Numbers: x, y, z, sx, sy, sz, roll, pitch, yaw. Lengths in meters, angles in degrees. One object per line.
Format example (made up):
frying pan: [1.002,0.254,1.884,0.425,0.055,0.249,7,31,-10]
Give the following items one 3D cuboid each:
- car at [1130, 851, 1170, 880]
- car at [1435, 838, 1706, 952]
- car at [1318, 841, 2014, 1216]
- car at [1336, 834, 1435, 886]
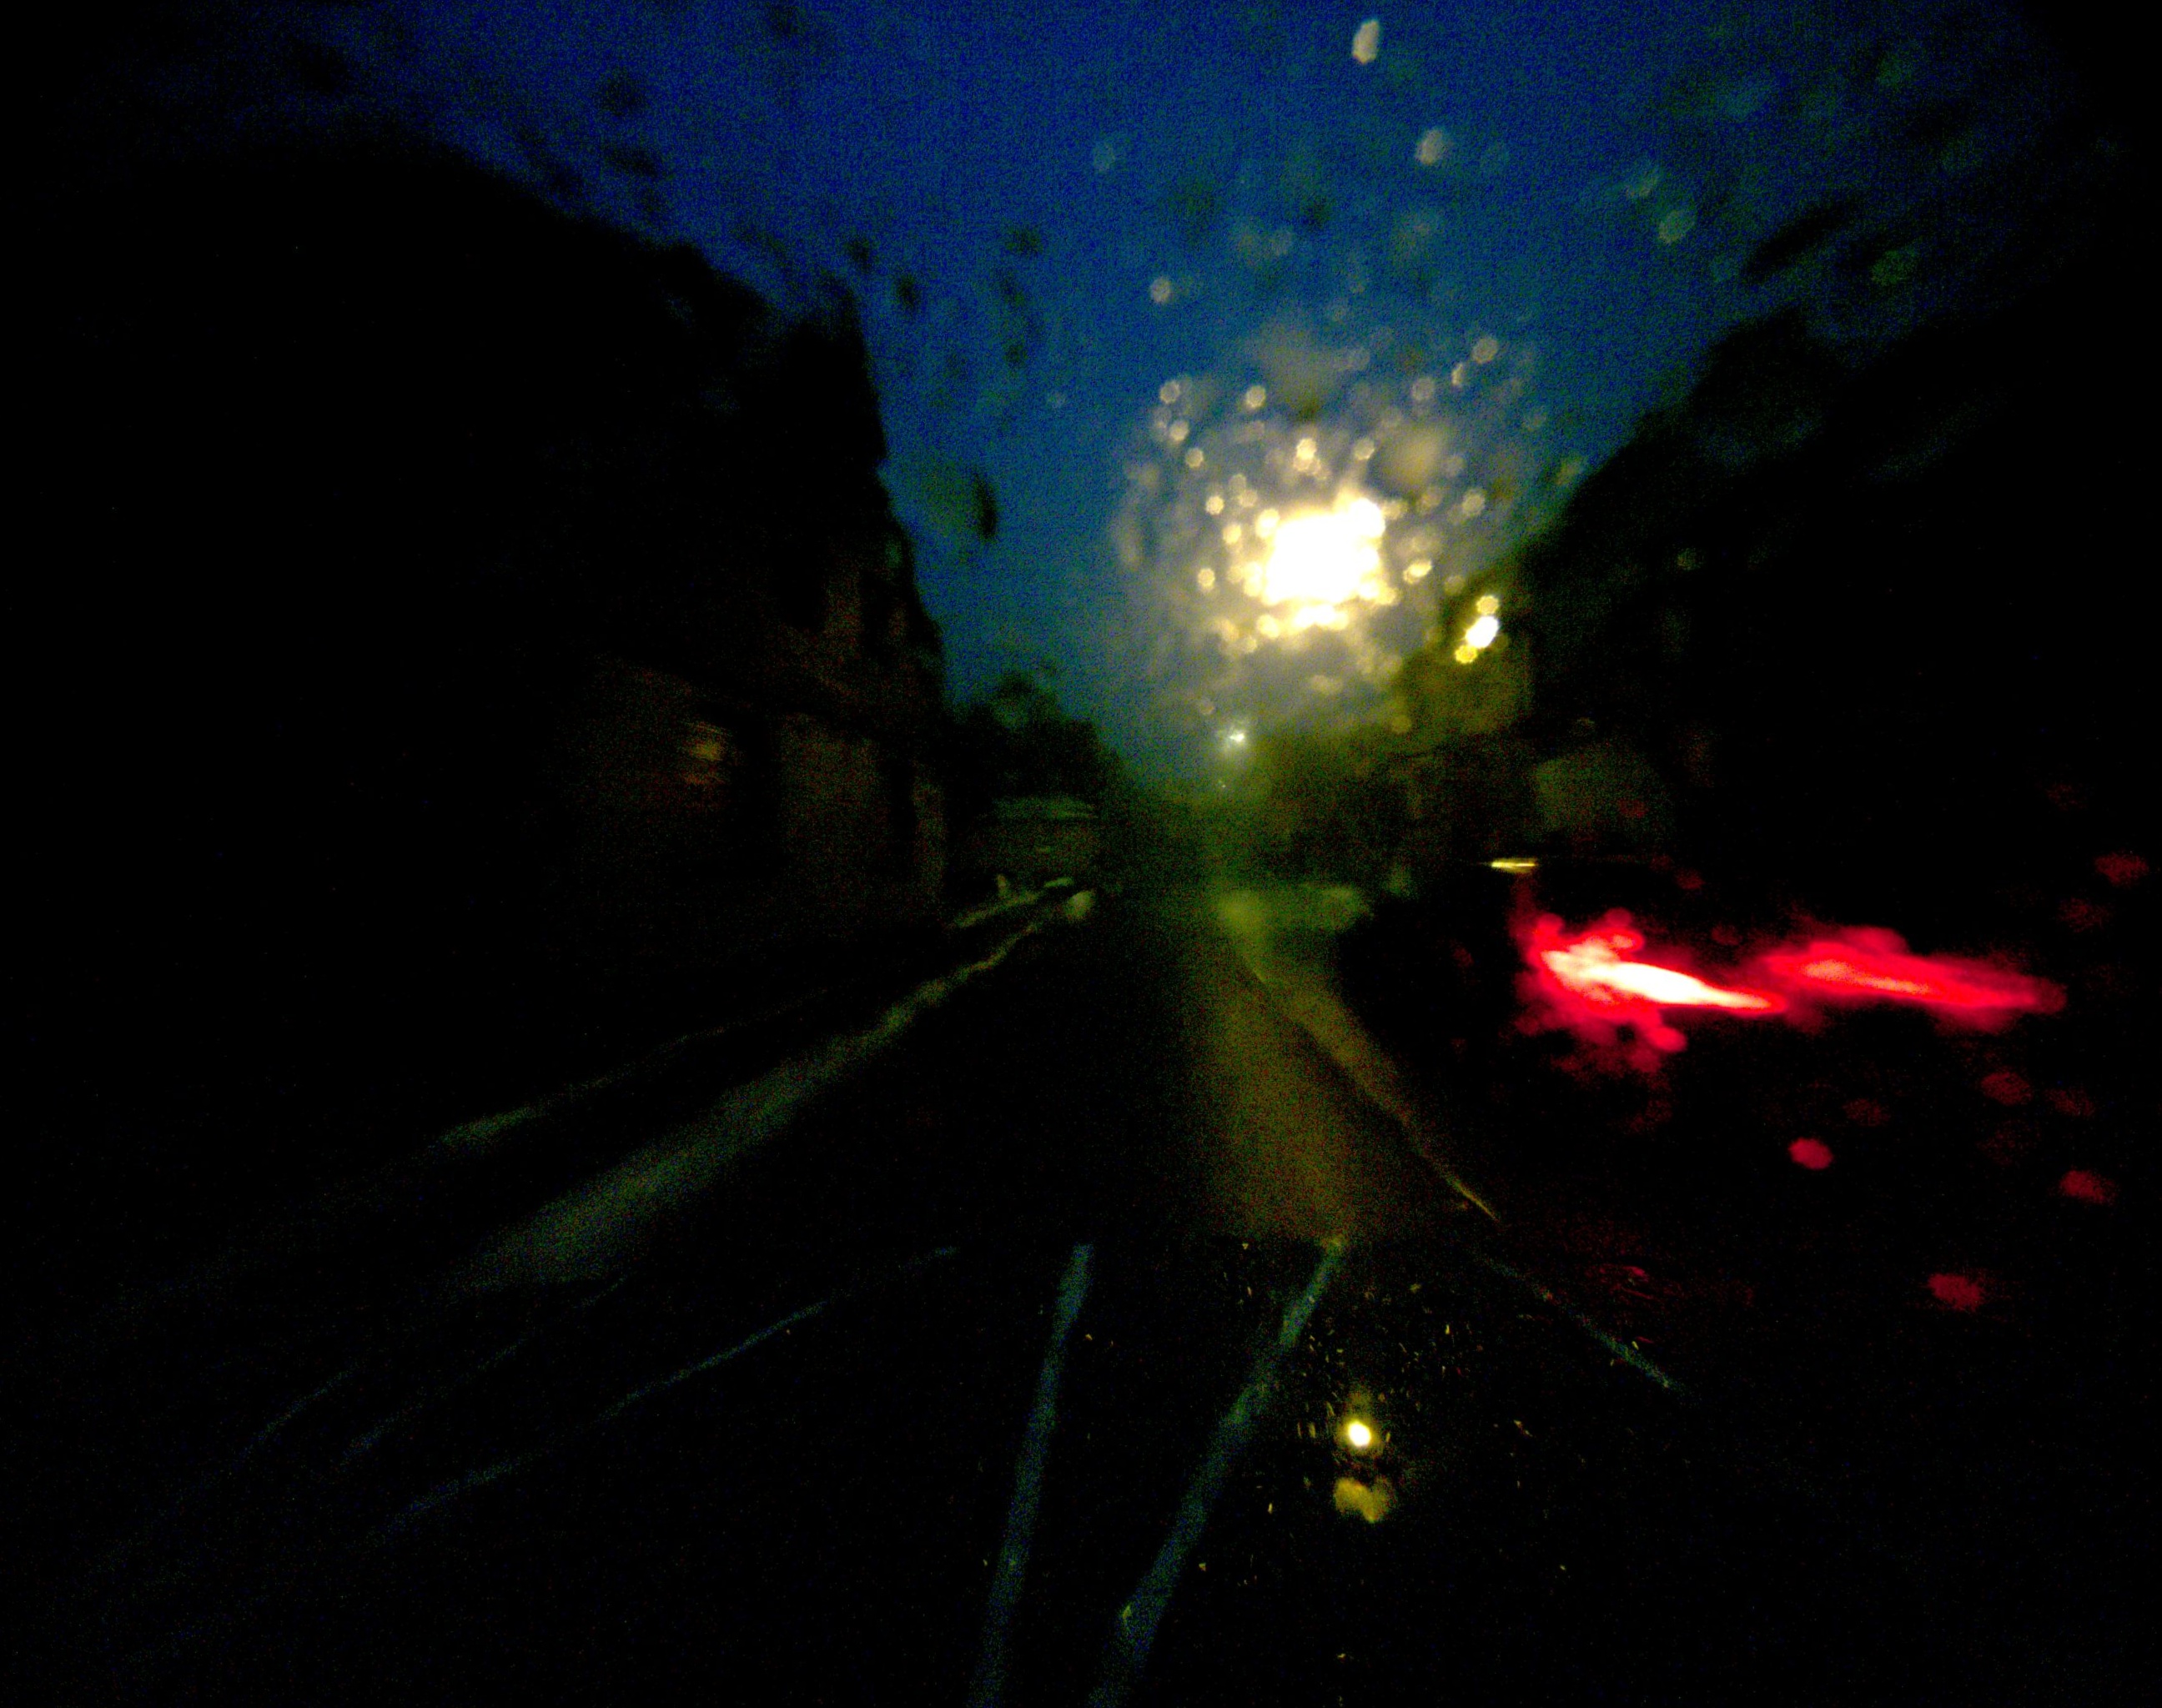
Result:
car: [4.107,0.629,44.537,1.913,1.472,4.284,-1,1,10]
car: [7.840,0.599,12.755,1.998,1.513,4.192,-3,0,4]
car: [3.326,0.763,5.682,1.845,1.678,4.477,0,1,2]
car: [11.821,0.236,29.843,1.769,1.726,4.639,-5,0,-2]
